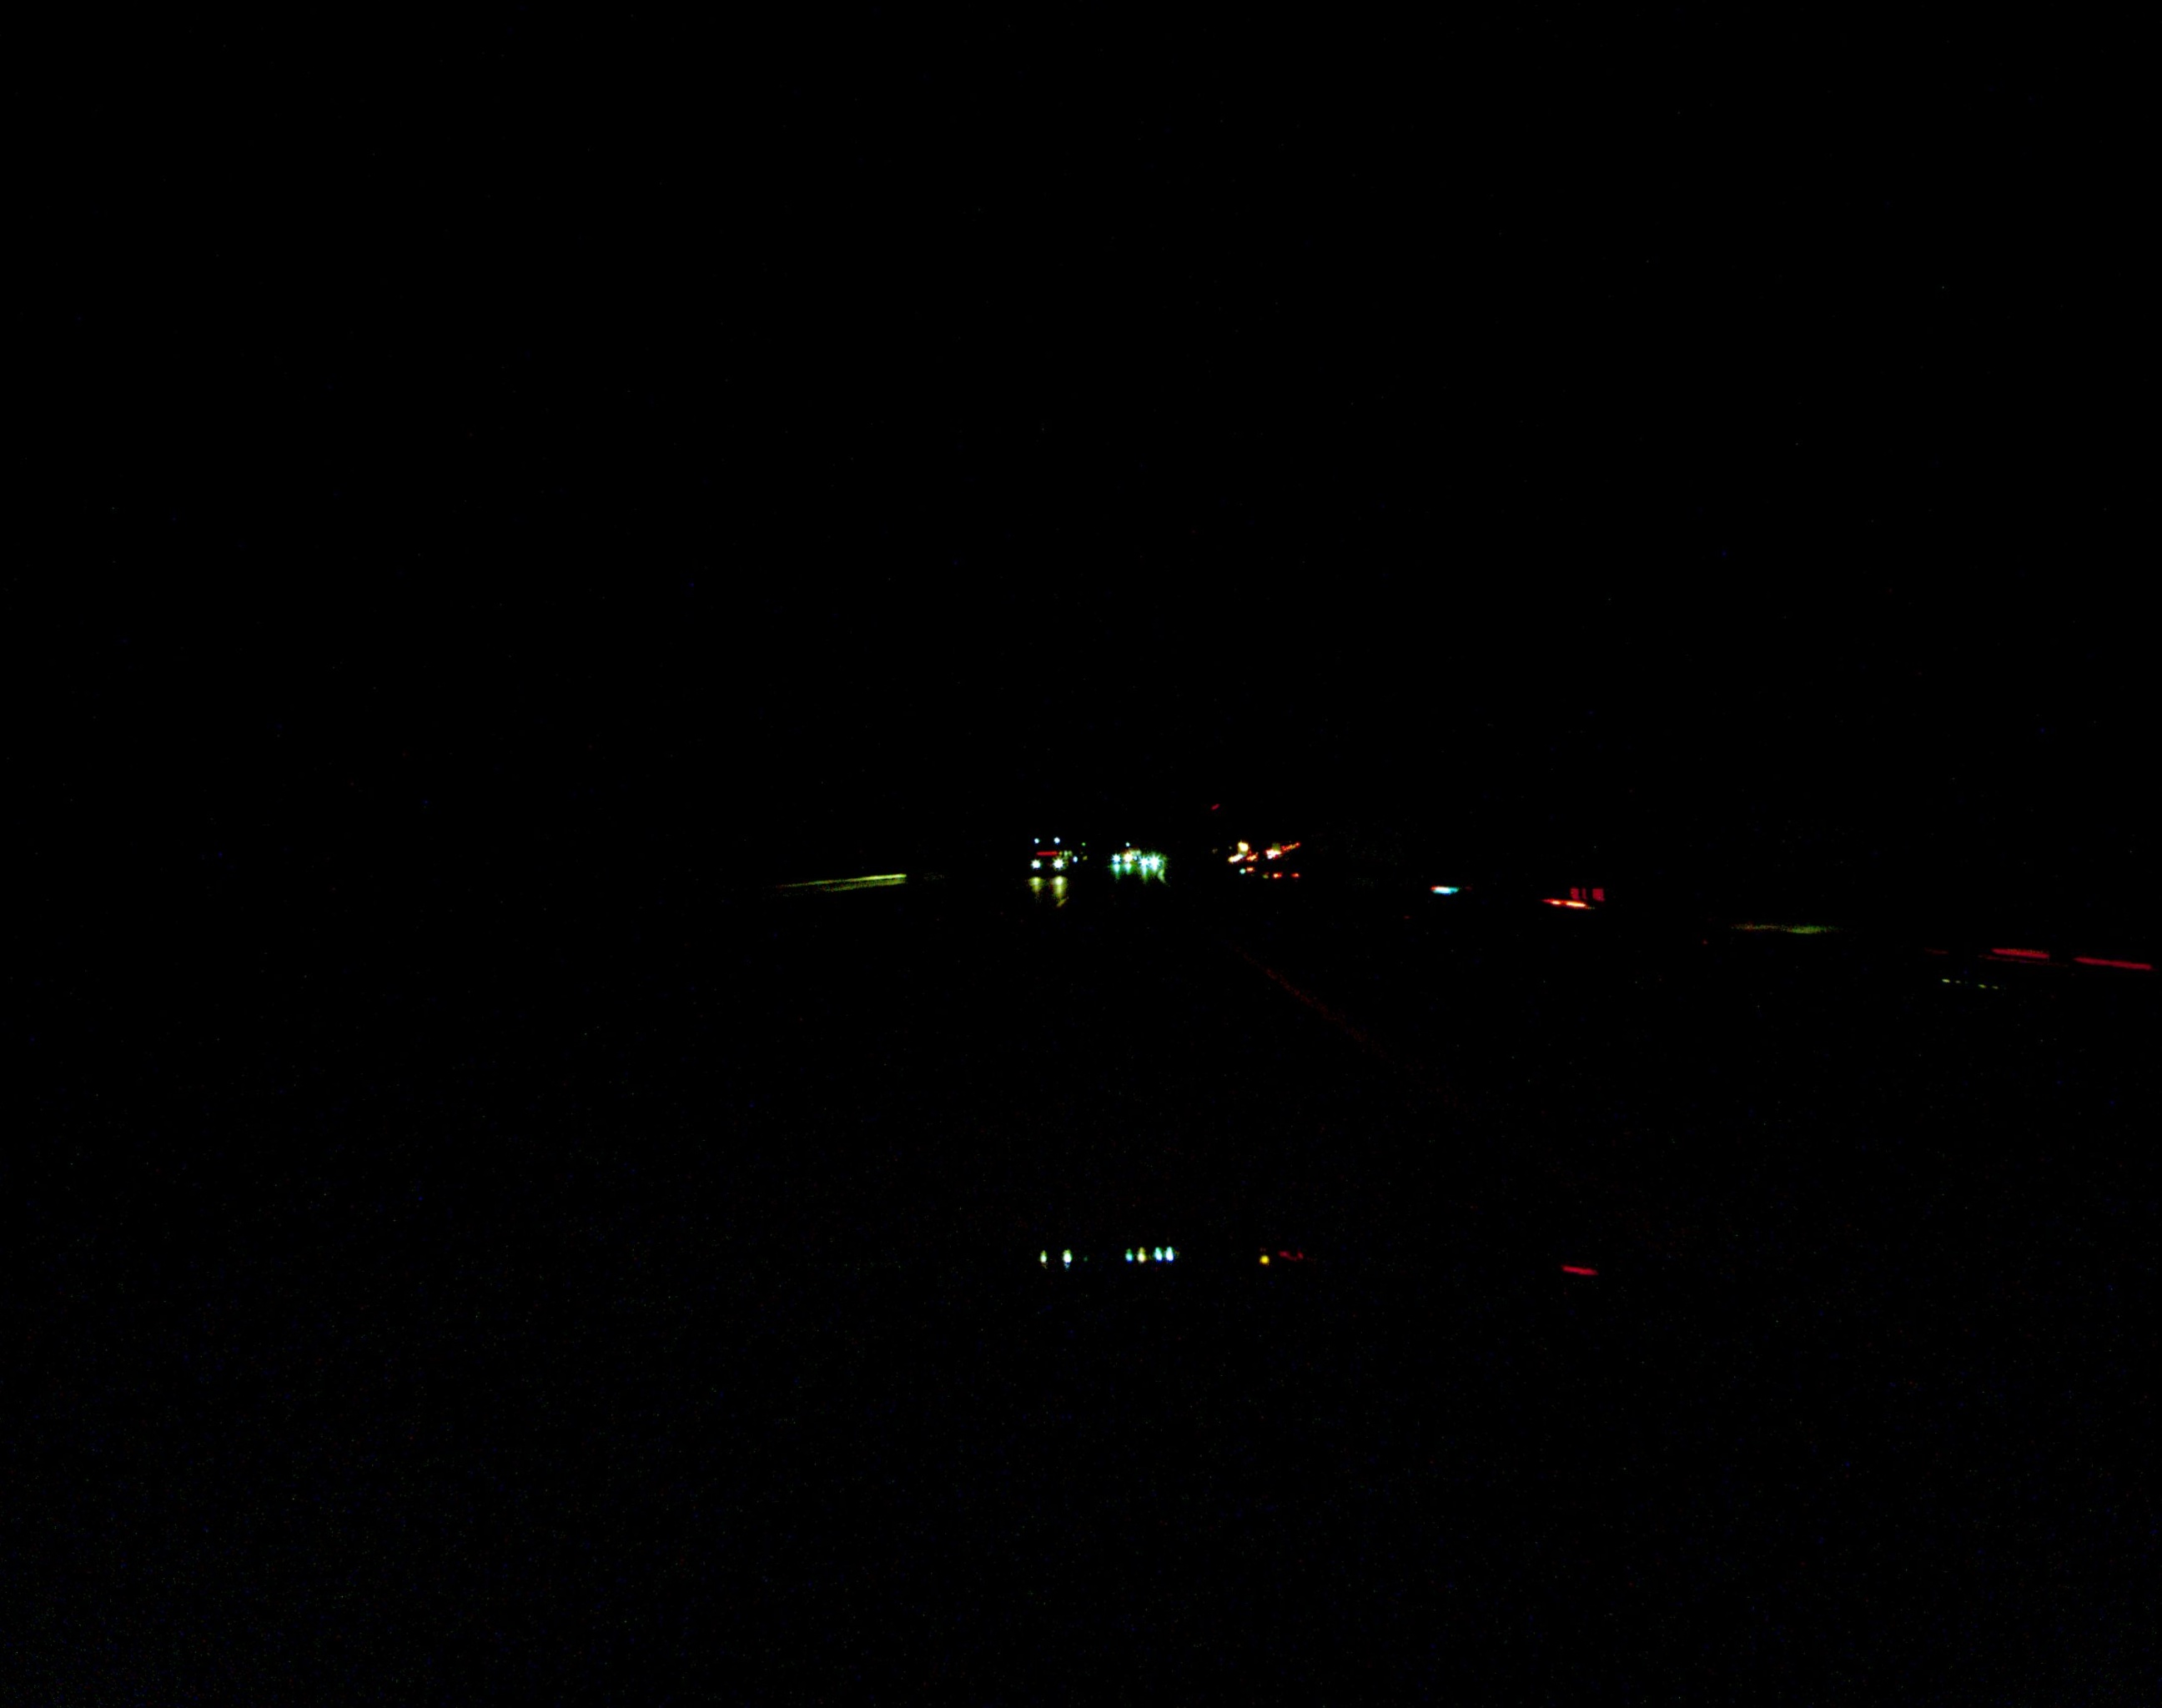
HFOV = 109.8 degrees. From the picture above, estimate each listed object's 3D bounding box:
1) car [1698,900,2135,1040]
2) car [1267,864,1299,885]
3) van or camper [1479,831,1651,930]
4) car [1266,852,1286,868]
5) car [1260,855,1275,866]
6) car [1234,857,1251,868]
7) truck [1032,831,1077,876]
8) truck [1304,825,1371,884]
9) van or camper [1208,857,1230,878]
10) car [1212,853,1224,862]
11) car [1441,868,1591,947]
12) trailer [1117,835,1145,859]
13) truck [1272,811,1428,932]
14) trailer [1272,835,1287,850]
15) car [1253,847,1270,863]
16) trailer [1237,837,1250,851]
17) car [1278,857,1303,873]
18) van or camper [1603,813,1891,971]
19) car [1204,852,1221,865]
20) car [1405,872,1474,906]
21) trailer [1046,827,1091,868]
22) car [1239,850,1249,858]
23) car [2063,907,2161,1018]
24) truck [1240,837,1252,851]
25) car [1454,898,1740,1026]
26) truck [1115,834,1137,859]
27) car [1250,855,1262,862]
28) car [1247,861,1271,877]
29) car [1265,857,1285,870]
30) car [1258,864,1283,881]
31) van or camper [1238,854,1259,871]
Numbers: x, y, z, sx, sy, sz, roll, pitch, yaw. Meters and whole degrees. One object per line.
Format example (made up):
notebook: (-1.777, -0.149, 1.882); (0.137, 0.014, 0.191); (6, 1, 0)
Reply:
car: (12.336, 1.593, 11.804); (1.838, 1.443, 4.505); (-1, 0, 0)
car: (15.383, 1.525, 58.046); (1.604, 1.433, 4.256); (-1, 0, 4)
van or camper: (16.332, 0.804, 26.223); (1.838, 2.954, 6.399); (-1, 0, 0)
car: (25.943, 0.763, 101.276); (2.143, 2.042, 5.116); (-1, 0, 11)
car: (27.059, 0.901, 110.209); (1.820, 1.548, 4.282); (-2, 0, 10)
car: (24.324, 1.267, 114.512); (2.143, 1.613, 5.116); (-1, 0, 9)
truck: (-2.356, -0.170, 71.181); (2.872, 3.818, 8.056); (-3, 1, 7)
truck: (19.371, 0.028, 57.859); (3.425, 4.199, 6.284); (0, 1, 5)
van or camper: (14.383, 1.396, 79.309); (2.034, 2.002, 4.578); (-1, 0, 7)
car: (22.756, 0.552, 126.368); (1.820, 1.460, 4.282); (-2, 0, 10)
car: (12.767, 1.478, 22.636); (1.999, 2.002, 3.999); (-2, 0, -2)
trailer: (9.044, -1.330, 134.690); (2.837, 3.952, 15.775); (-3, 0, 11)
truck: (9.283, 0.512, 27.427); (2.661, 3.570, 8.550); (-3, 0, 2)
trailer: (63.338, -3.799, 242.362); (3.152, 4.290, 14.827); (-4, 1, 19)
car: (29.687, 0.126, 125.399); (2.031, 2.427, 5.697); (-3, 0, 7)
trailer: (46.251, -2.789, 215.740); (2.538, 3.692, 10.136); (-4, 1, 17)
car: (21.388, 1.100, 77.603); (1.604, 1.433, 4.001); (-1, 0, 3)
van or camper: (16.322, 0.812, 19.236); (2.275, 3.359, 5.694); (-1, 0, 0)
car: (18.064, 0.617, 104.674); (2.143, 1.696, 5.116); (-1, 0, 9)
car: (17.230, 1.634, 36.711); (1.604, 1.433, 4.001); (-1, 0, 4)
trailer: (-1.164, -0.781, 81.033); (2.880, 3.909, 12.890); (-3, 1, 7)
car: (31.984, 0.060, 149.120); (1.820, 1.460, 4.282); (-2, 0, 10)
car: (15.959, 1.552, 9.639); (1.838, 1.443, 4.001); (-1, 0, 0)
truck: (48.185, -3.014, 222.306); (2.607, 3.721, 6.762); (-4, 1, 18)
car: (8.307, 1.641, 12.798); (1.998, 1.528, 4.146); (-1, 0, 0)
truck: (7.524, -1.220, 126.933); (2.897, 3.949, 4.003); (-3, 0, 12)
car: (39.107, 0.955, 169.920); (2.078, 1.625, 4.924); (-1, 0, 9)
car: (18.139, 1.499, 77.424); (1.604, 1.433, 4.000); (-1, 0, 1)
car: (23.439, 1.157, 91.906); (1.841, 1.433, 4.002); (-1, 0, 7)
car: (17.162, 1.659, 69.079); (1.604, 1.433, 4.386); (-1, 0, 6)
van or camper: (20.327, 1.026, 92.610); (1.997, 2.002, 5.224); (-1, 0, 7)
